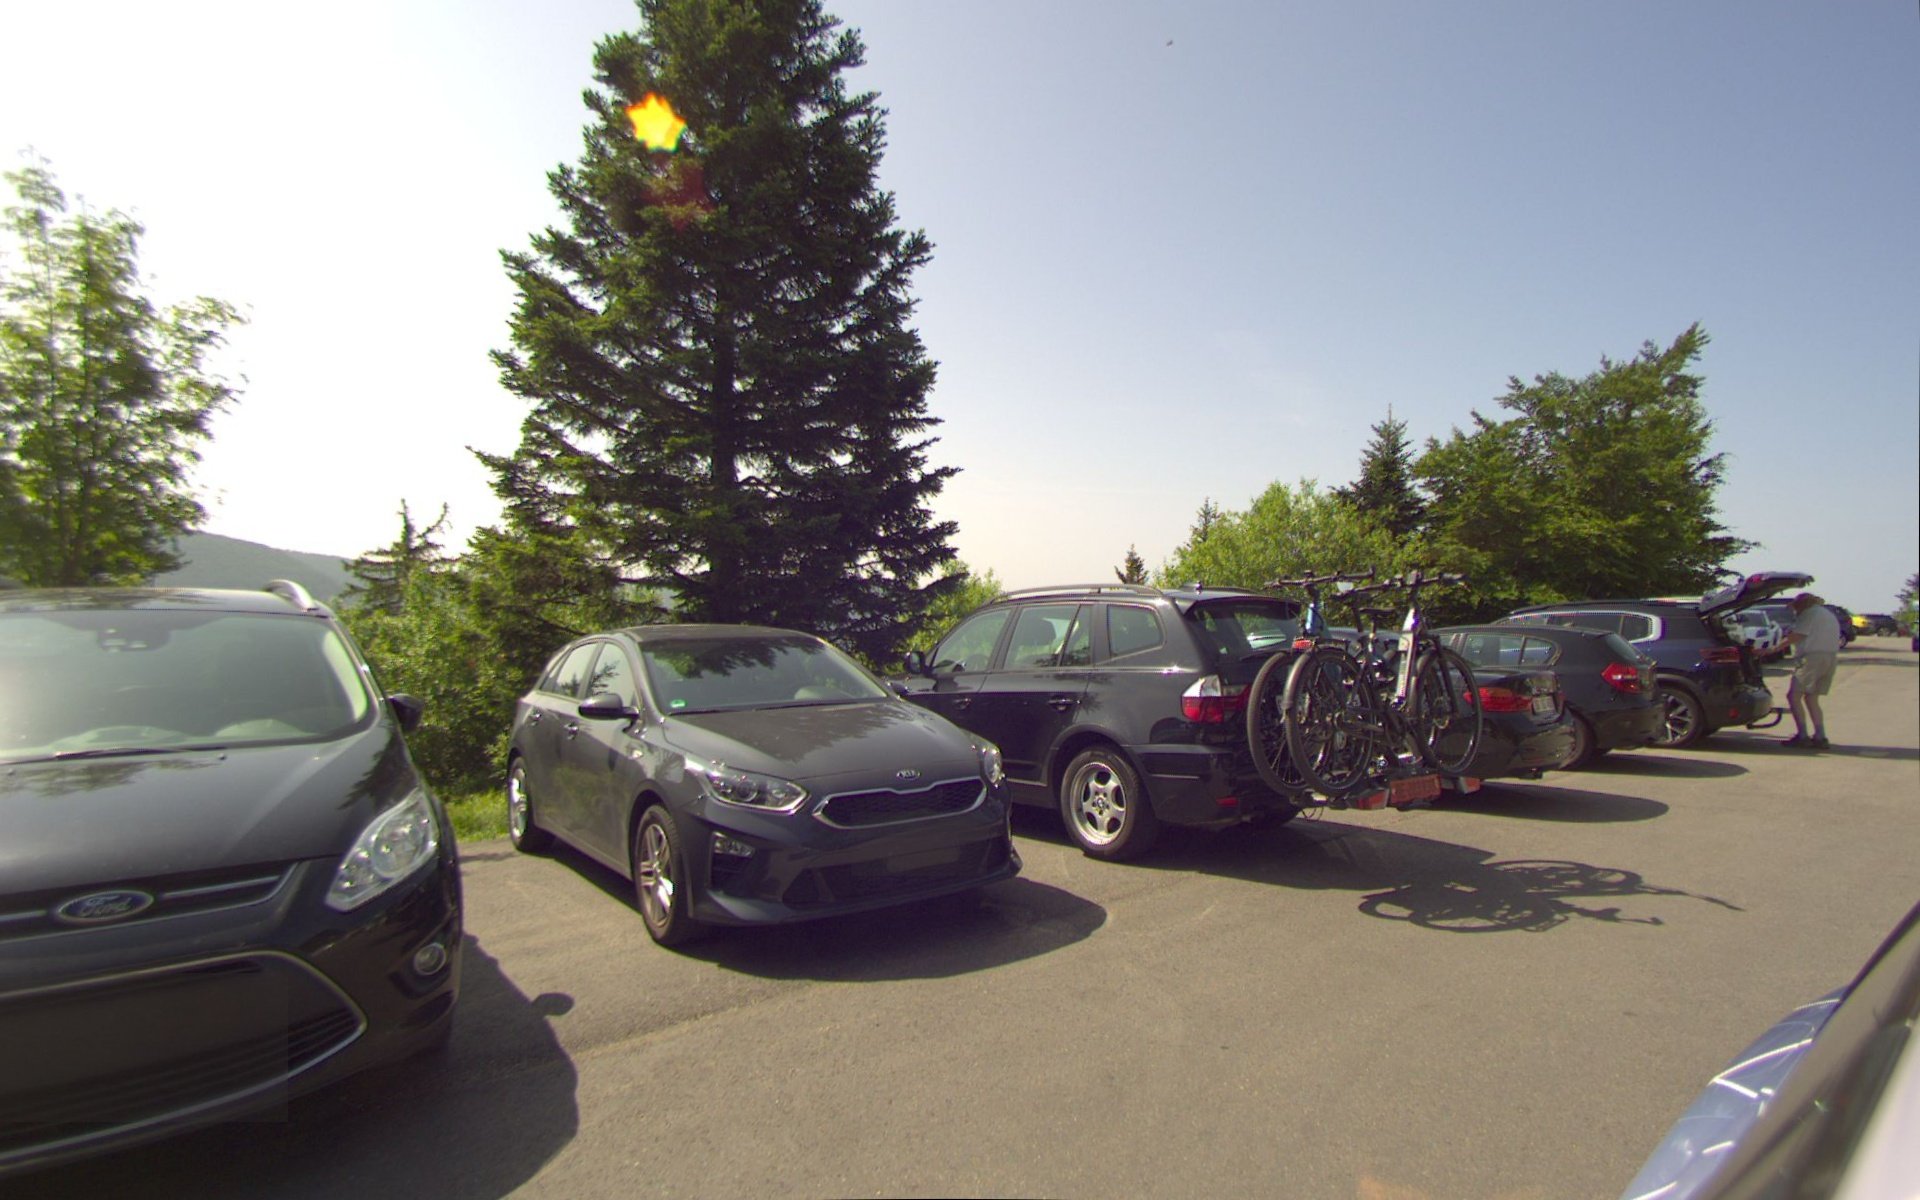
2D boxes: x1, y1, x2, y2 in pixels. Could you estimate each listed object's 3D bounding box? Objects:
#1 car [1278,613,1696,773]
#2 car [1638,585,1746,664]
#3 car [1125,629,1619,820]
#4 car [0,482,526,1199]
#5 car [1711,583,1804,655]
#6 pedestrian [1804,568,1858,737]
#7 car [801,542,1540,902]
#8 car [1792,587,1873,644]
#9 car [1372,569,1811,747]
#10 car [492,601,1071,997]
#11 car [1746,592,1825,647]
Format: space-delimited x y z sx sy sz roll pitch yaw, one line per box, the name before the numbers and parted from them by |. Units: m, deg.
car | 5.540 0.847 10.914 3.675 1.368 1.710 0 0 45
car | 18.942 0.561 26.137 1.860 1.864 3.824 0 0 42
car | 3.349 0.903 8.816 1.536 1.285 3.706 1 -2 -39
car | -3.219 0.653 3.929 1.721 1.639 4.427 0 -2 -38
car | 24.034 0.511 30.450 1.992 2.039 3.940 0 0 41
pedestrian | 9.748 0.570 11.328 0.540 1.845 0.367 1 0 -40
car | 0.984 0.677 7.267 1.963 1.641 5.111 0 -3 -38
car | 32.853 0.527 38.207 1.988 2.039 3.947 0 0 37
car | 7.759 0.609 12.809 1.964 1.845 4.322 0 0 -39
car | -1.425 0.805 5.976 1.658 1.450 4.324 0 -2 -36
car | 28.349 0.604 34.786 1.990 1.766 3.943 0 0 39
